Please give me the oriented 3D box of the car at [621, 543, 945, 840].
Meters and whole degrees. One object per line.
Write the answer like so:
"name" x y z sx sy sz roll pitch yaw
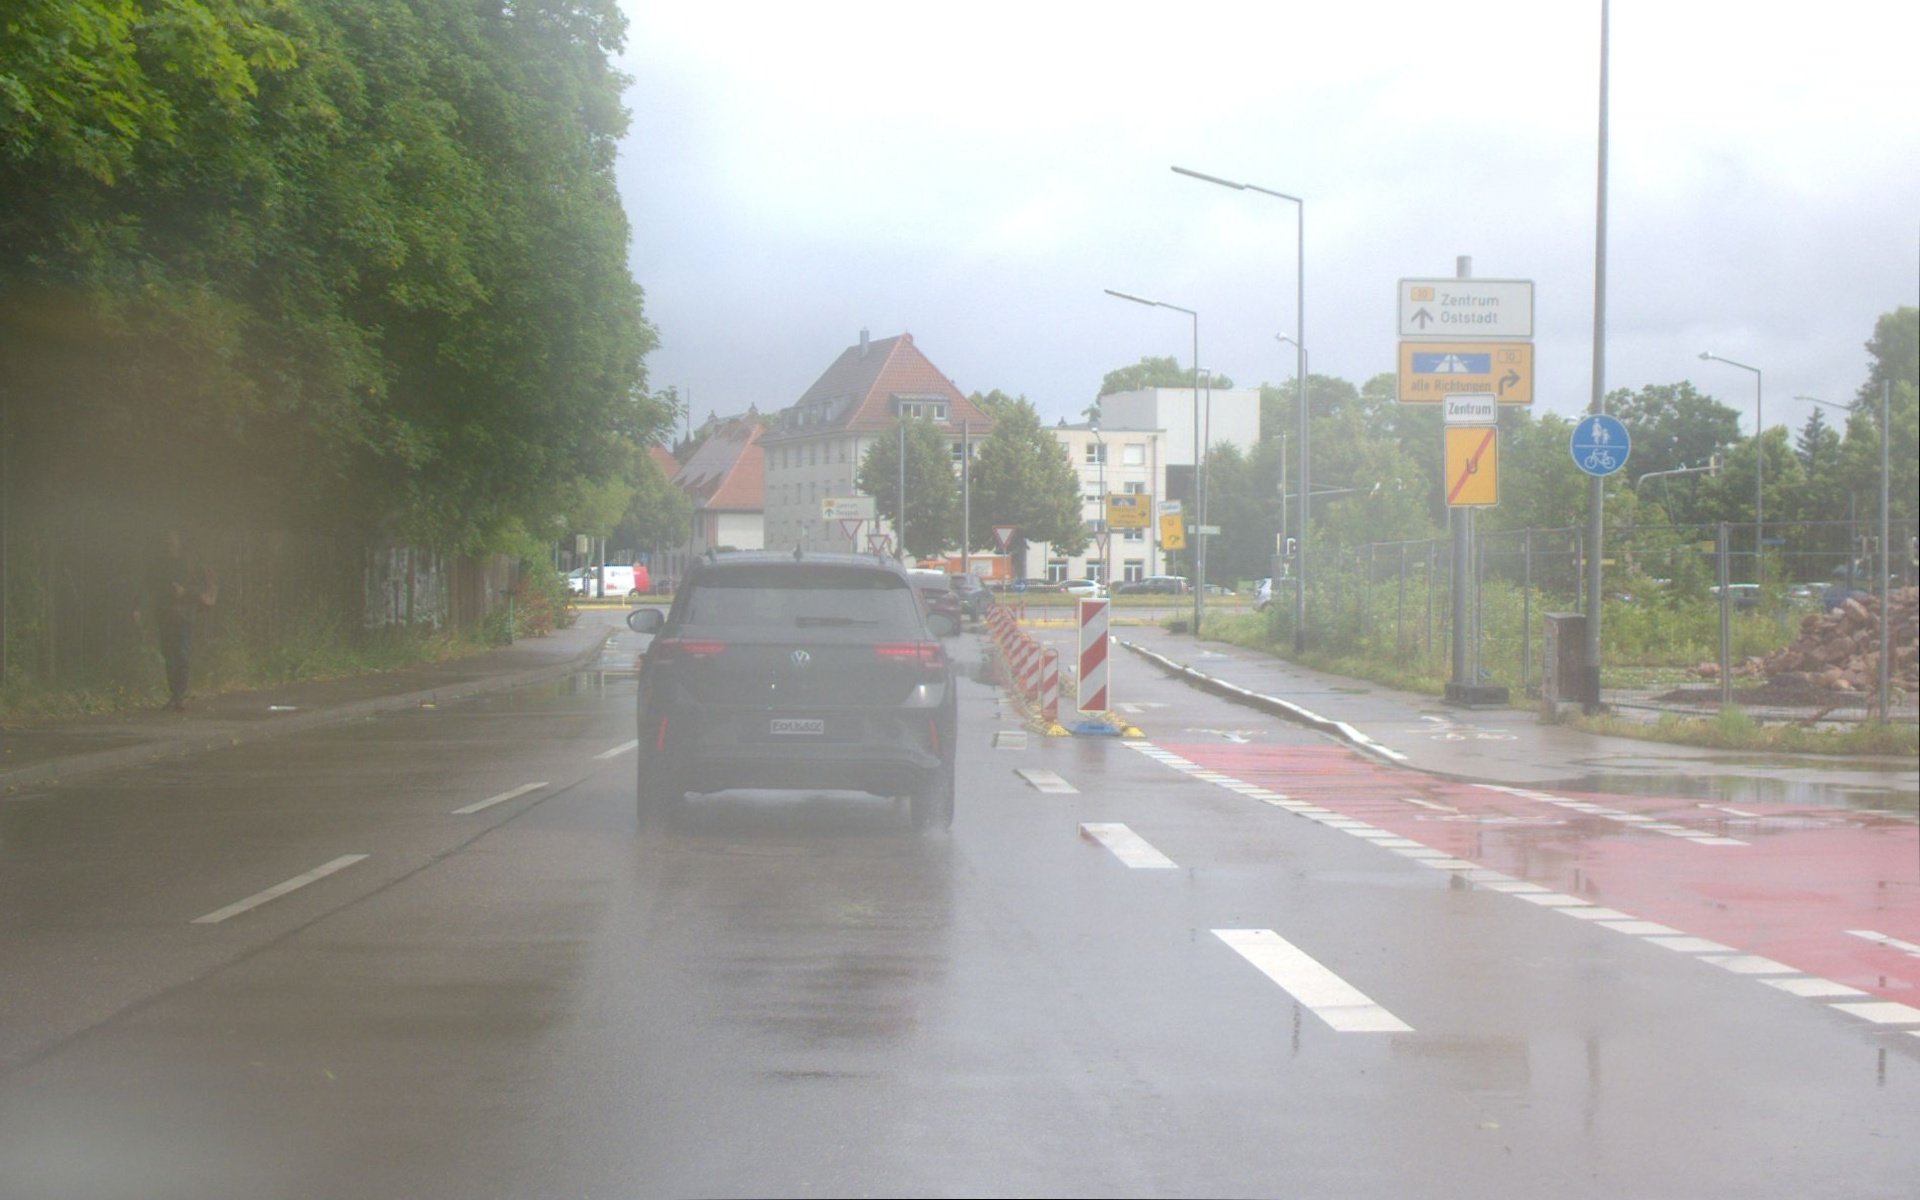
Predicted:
"car" -1.045 0.488 20.419 1.708 1.568 3.683 1 0 -3

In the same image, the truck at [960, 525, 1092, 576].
"truck" 3.581 -2.664 185.424 7.066 2.641 2.330 1 0 2

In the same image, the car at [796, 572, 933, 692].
"car" -1.285 0.401 45.964 1.735 1.509 3.604 1 1 -2

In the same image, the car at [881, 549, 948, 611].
"car" -1.380 -0.610 102.918 1.864 1.803 4.404 1 1 -3

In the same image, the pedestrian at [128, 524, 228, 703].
"pedestrian" -7.755 0.132 34.118 0.839 1.763 0.644 0 0 0
